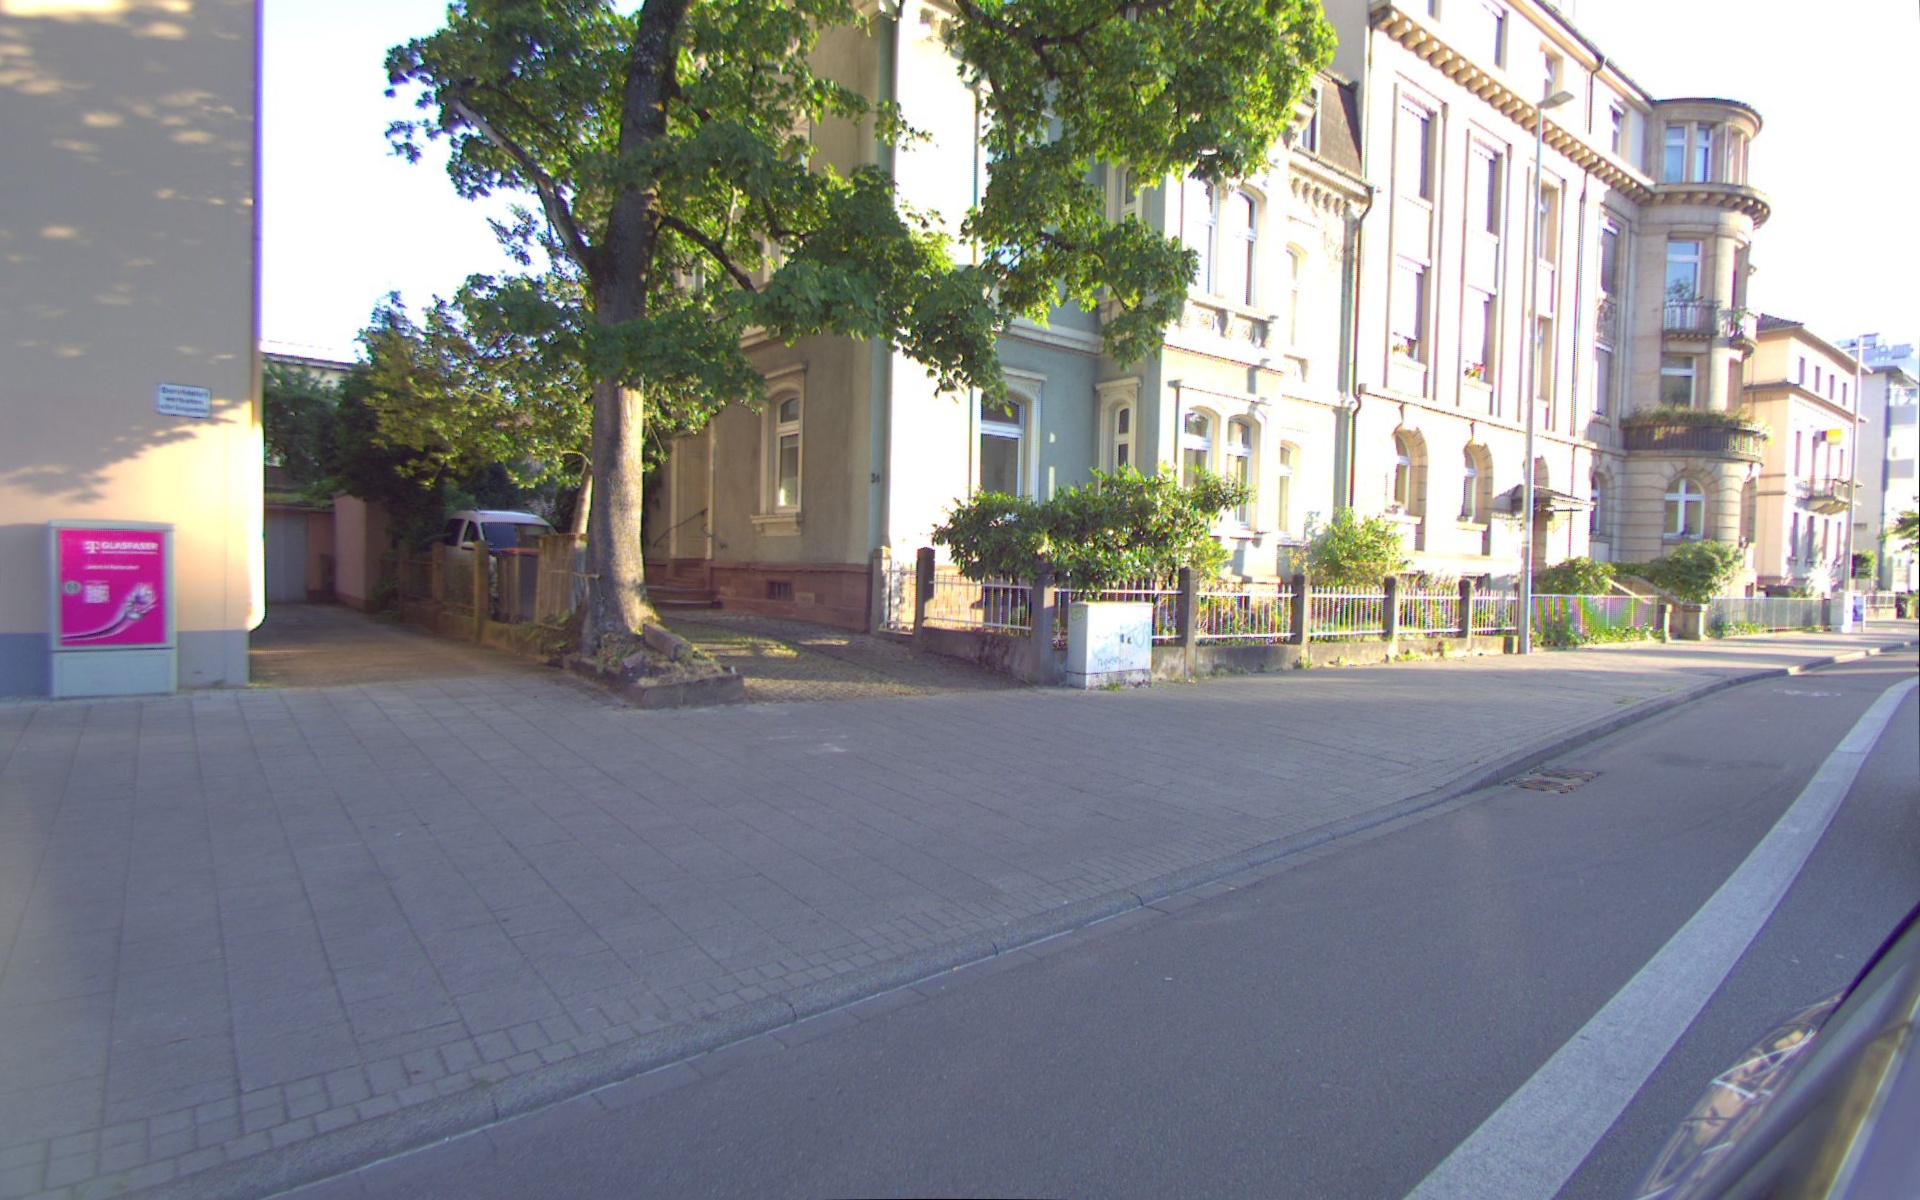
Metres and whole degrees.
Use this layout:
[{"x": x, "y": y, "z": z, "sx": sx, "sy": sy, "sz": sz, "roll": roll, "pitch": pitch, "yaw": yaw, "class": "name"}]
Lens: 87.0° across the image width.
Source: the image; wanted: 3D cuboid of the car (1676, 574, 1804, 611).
[{"x": 34.027, "y": -0.362, "z": 44.229, "sx": 1.903, "sy": 1.499, "sz": 4.098, "roll": 0, "pitch": 2, "yaw": -38, "class": "car"}]

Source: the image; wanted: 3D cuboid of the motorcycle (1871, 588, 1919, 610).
[{"x": 48.295, "y": -0.055, "z": 52.216, "sx": 0.564, "sy": 1.110, "sz": 1.851, "roll": 0, "pitch": 1, "yaw": -33, "class": "motorcycle"}]

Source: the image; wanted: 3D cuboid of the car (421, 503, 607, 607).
[{"x": -8.702, "y": -0.913, "z": 19.530, "sx": 1.795, "sy": 1.778, "sz": 4.513, "roll": 1, "pitch": 3, "yaw": -44, "class": "car"}]
